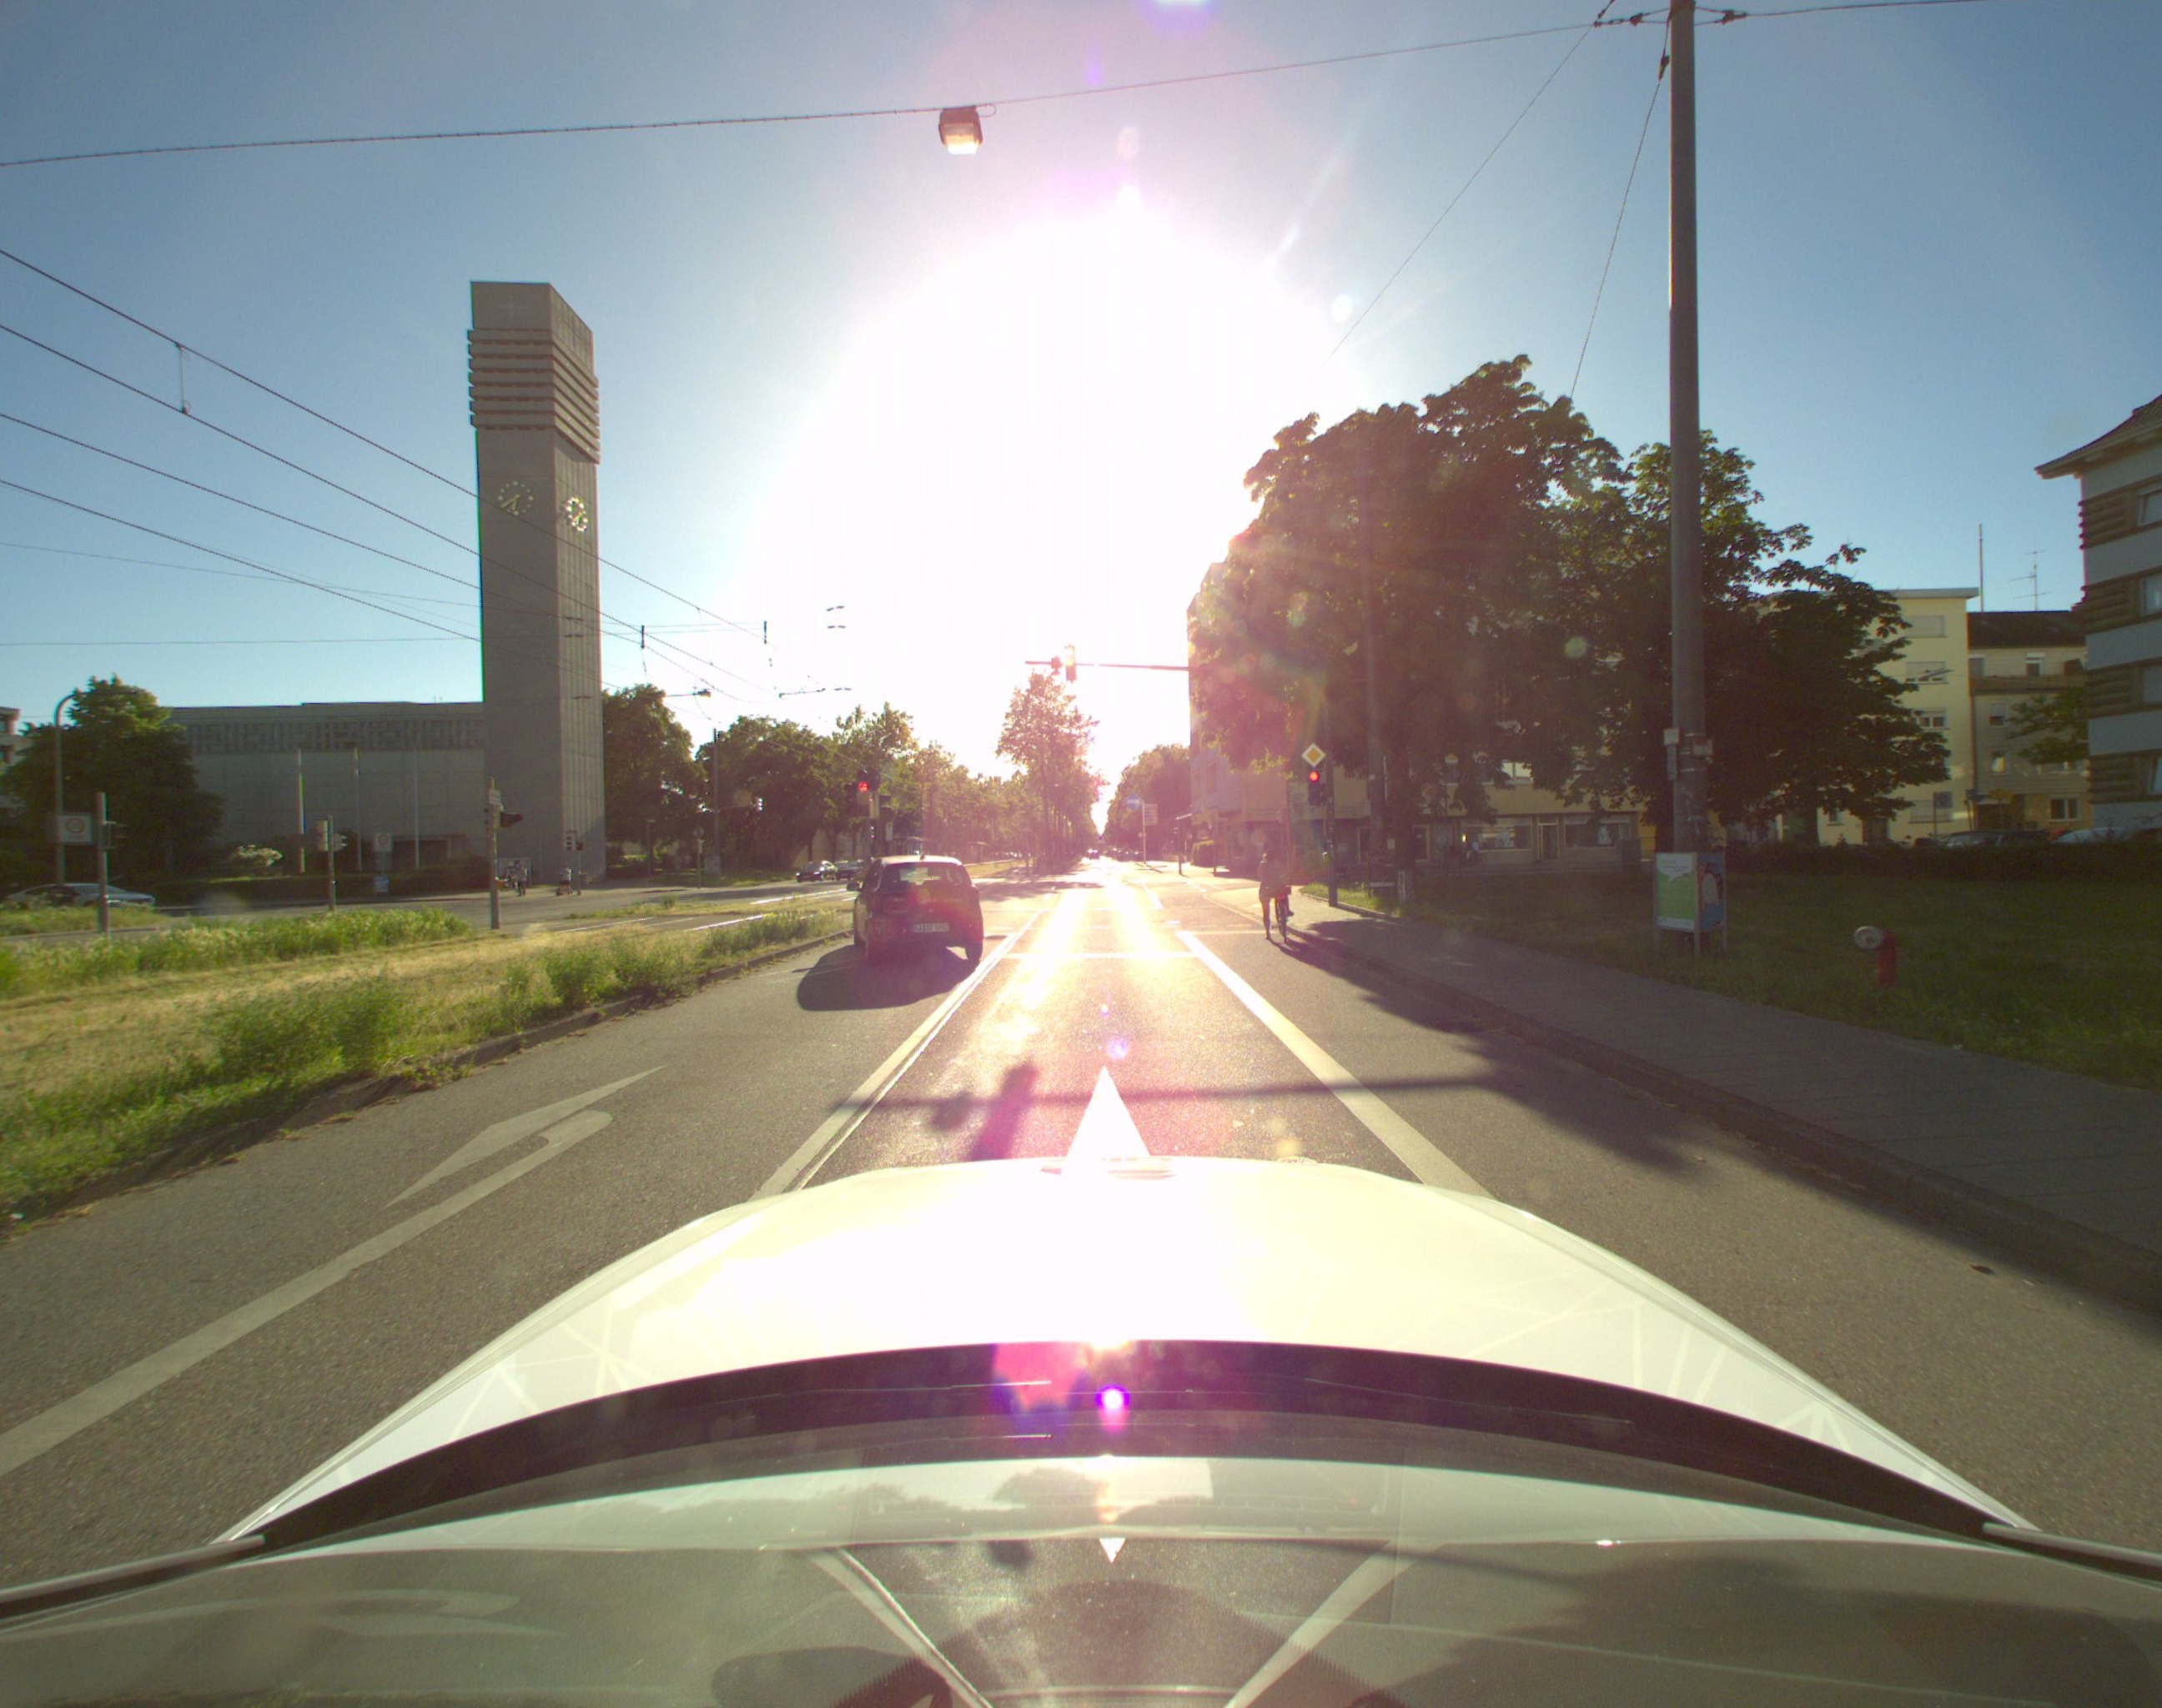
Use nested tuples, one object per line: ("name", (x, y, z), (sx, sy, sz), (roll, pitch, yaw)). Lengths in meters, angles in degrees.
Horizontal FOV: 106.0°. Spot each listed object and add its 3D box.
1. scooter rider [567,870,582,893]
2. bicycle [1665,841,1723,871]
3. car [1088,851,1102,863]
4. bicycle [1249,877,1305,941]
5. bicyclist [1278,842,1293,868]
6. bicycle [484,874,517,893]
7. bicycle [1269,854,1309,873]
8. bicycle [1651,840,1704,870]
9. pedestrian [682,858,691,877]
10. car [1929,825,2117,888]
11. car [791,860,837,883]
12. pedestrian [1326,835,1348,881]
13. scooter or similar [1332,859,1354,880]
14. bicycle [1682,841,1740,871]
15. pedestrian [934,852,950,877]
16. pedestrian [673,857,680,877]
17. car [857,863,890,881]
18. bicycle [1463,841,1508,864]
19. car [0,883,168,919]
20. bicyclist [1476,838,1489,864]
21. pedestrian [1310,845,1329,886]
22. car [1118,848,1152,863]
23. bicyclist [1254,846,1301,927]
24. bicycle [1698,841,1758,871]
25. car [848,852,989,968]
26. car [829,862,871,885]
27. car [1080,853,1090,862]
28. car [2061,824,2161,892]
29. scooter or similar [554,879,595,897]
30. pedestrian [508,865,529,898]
("scooter rider", (-27.119, 1.449, 43.595), (0.526, 1.218, 0.585), (1, 0, -14))
("bicycle", (22.011, 0.057, 29.291), (0.595, 1.034, 2.007), (1, 0, 1))
("car", (2.124, 0.418, 124.176), (1.962, 1.860, 3.999), (1, 0, 0))
("bicycle", (3.344, 0.911, 14.003), (0.645, 0.972, 1.805), (1, 0, 4))
("bicyclist", (12.046, 0.038, 47.987), (0.762, 1.471, 0.902), (-2, 1, 18))
("bicycle", (-33.638, 1.700, 47.237), (0.488, 1.046, 1.687), (1, 0, 9))
("bicycle", (12.229, 0.568, 47.968), (2.234, 0.987, 0.792), (-1, 5, 16))
("bicycle", (21.364, 0.034, 29.205), (0.595, 1.034, 1.796), (1, 0, 1))
("pedestrian", (-31.708, 1.059, 65.465), (0.434, 1.507, 0.488), (1, 0, -3))
("car", (25.075, 0.062, 21.755), (3.238, 1.529, 1.575), (-2, 0, -1))
("car", (-19.676, 1.246, 60.239), (1.800, 1.533, 4.362), (-2, 0, 1))
("pedestrian", (9.506, 0.130, 30.247), (0.724, 1.682, 0.534), (1, 0, 13))
("scooter or similar", (9.518, 0.564, 29.599), (0.596, 0.737, 0.681), (1, 0, 0))
("bicycle", (22.664, 0.063, 29.349), (0.595, 1.034, 1.991), (1, 0, 1))
("pedestrian", (-9.038, 0.663, 52.970), (0.887, 1.606, 0.613), (1, 0, 1))
("pedestrian", (-32.490, 1.040, 65.417), (0.434, 1.560, 0.305), (1, 0, -3))
("car", (-16.948, 1.451, 66.613), (1.560, 1.402, 3.916), (1, 0, 1))
("bicycle", (24.821, -0.089, 49.964), (2.462, 1.399, 0.608), (1, 0, 0))
("car", (-42.788, 1.999, 34.931), (4.695, 1.401, 1.997), (1, 0, -5))
("bicyclist", (24.354, -0.189, 49.418), (0.525, 1.567, 0.464), (1, 0, -1))
("pedestrian", (8.896, 0.419, 30.352), (0.642, 1.522, 0.498), (1, 0, 13))
("car", (6.865, 0.210, 103.335), (3.954, 1.860, 2.021), (1, 0, 19))
("bicyclist", (3.343, 0.539, 13.908), (0.635, 1.323, 0.804), (1, 0, 3))
("bicycle", (23.295, 0.064, 29.364), (0.595, 1.034, 2.007), (1, 0, 1))
("car", (-2.662, 0.739, 12.716), (1.699, 1.508, 3.676), (0, 0, -19))
("car", (-17.059, 1.407, 60.329), (1.681, 1.533, 4.362), (-2, 0, 1))
("car", (0.836, 0.683, 163.202), (1.888, 1.611, 4.500), (1, 0, 0))
("car", (25.577, 0.044, 19.144), (3.238, 1.529, 1.575), (-2, 0, -1))
("scooter or similar", (-27.106, 1.824, 43.599), (1.737, 0.899, 0.560), (-2, 0, -15))
("pedestrian", (-29.634, 1.447, 42.908), (0.440, 1.666, 0.748), (1, 0, 11))
